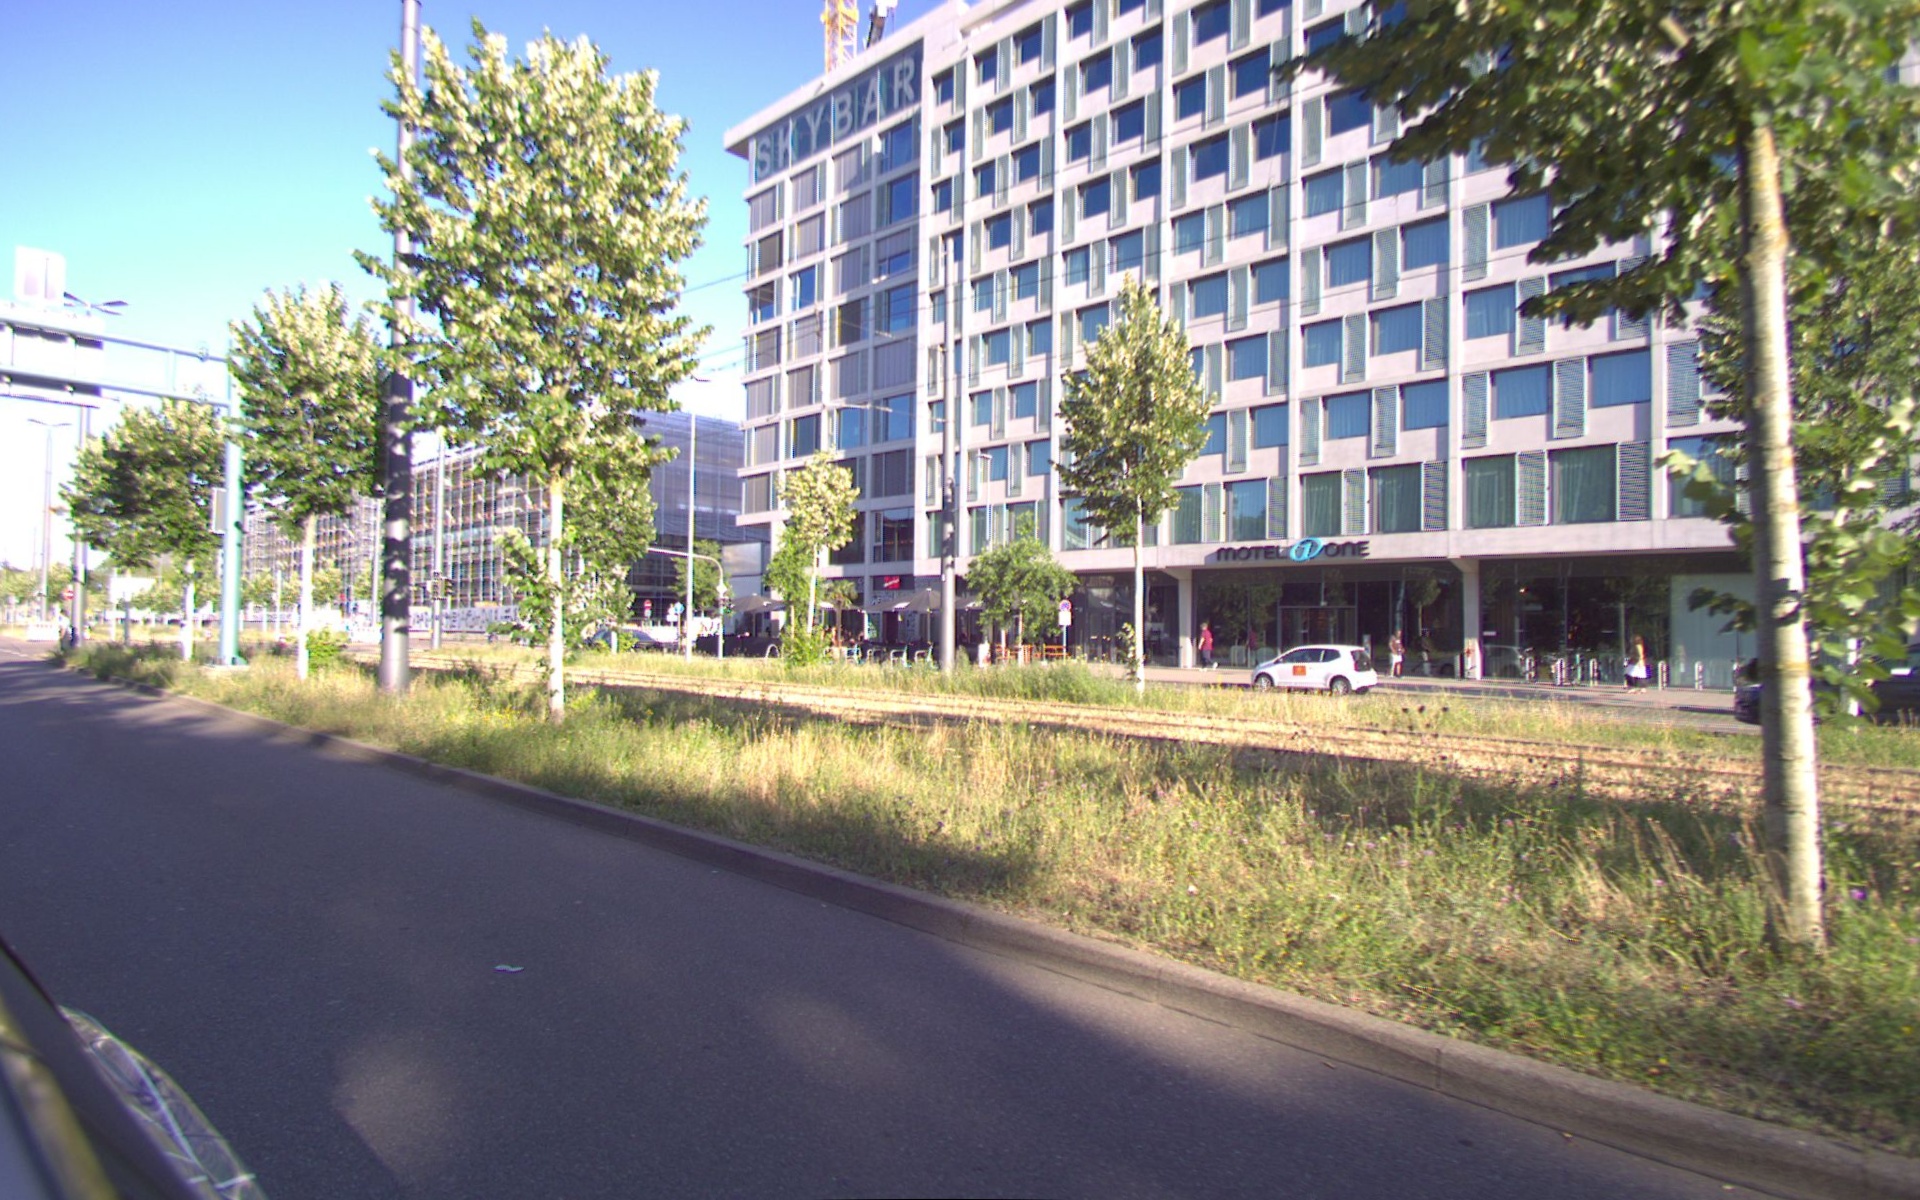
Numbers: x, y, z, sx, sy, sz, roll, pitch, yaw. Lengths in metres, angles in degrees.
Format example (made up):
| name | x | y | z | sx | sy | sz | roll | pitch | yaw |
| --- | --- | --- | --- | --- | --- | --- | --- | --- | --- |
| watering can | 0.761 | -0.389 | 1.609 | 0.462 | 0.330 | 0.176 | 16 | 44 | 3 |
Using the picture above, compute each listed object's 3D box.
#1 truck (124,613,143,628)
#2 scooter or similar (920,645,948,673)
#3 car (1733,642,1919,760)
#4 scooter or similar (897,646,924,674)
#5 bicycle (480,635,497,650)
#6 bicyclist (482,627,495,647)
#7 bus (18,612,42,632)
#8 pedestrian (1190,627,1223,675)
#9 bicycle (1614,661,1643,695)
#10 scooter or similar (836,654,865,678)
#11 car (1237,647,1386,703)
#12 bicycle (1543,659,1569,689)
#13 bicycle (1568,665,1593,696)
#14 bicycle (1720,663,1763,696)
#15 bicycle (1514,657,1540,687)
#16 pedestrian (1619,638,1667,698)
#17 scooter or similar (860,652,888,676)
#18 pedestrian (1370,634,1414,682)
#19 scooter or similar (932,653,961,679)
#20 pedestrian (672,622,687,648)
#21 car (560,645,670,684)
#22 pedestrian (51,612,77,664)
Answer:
| name | x | y | z | sx | sy | sz | roll | pitch | yaw |
| --- | --- | --- | --- | --- | --- | --- | --- | --- | --- |
| truck | -151.384 | 3.779 | 185.318 | 2.113 | 2.594 | 4.742 | 3 | -4 | -45 |
| scooter or similar | -1.089 | 2.467 | 42.318 | 0.406 | 1.181 | 1.229 | -2 | -4 | 44 |
| car | 15.059 | 1.524 | 15.344 | 1.864 | 1.702 | 5.091 | 2 | -2 | -45 |
| scooter or similar | -2.120 | 2.569 | 43.350 | 0.406 | 1.181 | 1.229 | -2 | -4 | 44 |
| bicycle | -35.590 | 3.211 | 76.335 | 0.617 | 1.075 | 2.081 | 3 | -3 | -41 |
| bicyclist | -35.572 | 2.788 | 76.337 | 0.617 | 1.476 | 0.852 | 3 | -3 | -41 |
| bus | -152.698 | 3.633 | 166.114 | 2.684 | 3.247 | 8.664 | 3 | -3 | -43 |
| pedestrian | 9.883 | 2.031 | 40.578 | 0.956 | 1.885 | 0.981 | 1 | -2 | -11 |
| bicycle | 20.747 | 2.407 | 31.417 | 0.483 | 0.974 | 1.732 | -1 | -2 | 42 |
| scooter or similar | -4.920 | 2.961 | 45.535 | 0.511 | 1.027 | 1.229 | -2 | -4 | 44 |
| car | 10.614 | 2.232 | 30.705 | 1.864 | 1.503 | 3.874 | 2 | -2 | -45 |
| bicycle | 19.151 | 2.364 | 32.520 | 0.511 | 0.912 | 1.787 | -1 | -3 | 37 |
| bicycle | 19.702 | 2.555 | 32.129 | 0.511 | 0.912 | 1.787 | -1 | -3 | 37 |
| bicycle | 22.409 | 2.266 | 29.004 | 1.780 | 0.912 | 0.513 | 2 | -3 | -37 |
| bicycle | 18.681 | 2.354 | 33.315 | 0.511 | 0.912 | 1.787 | -1 | -3 | 37 |
| pedestrian | 19.504 | 1.914 | 28.910 | 0.970 | 1.666 | 0.834 | -2 | -3 | 45 |
| scooter or similar | -3.794 | 2.829 | 44.507 | 0.435 | 1.027 | 1.229 | -2 | -4 | 44 |
| pedestrian | 15.347 | 2.060 | 35.997 | 0.962 | 1.683 | 1.062 | 2 | -3 | -27 |
| scooter or similar | -0.551 | 2.693 | 41.323 | 0.435 | 1.027 | 1.229 | -2 | -4 | 44 |
| pedestrian | -16.601 | 2.079 | 59.873 | 0.575 | 1.510 | 0.581 | -1 | -3 | 34 |
| car | -13.269 | 2.437 | 38.778 | 4.850 | 1.354 | 1.870 | -1 | -3 | 43 |
| pedestrian | -29.754 | 1.260 | 33.604 | 0.591 | 1.712 | 0.715 | 3 | -3 | -42 |
